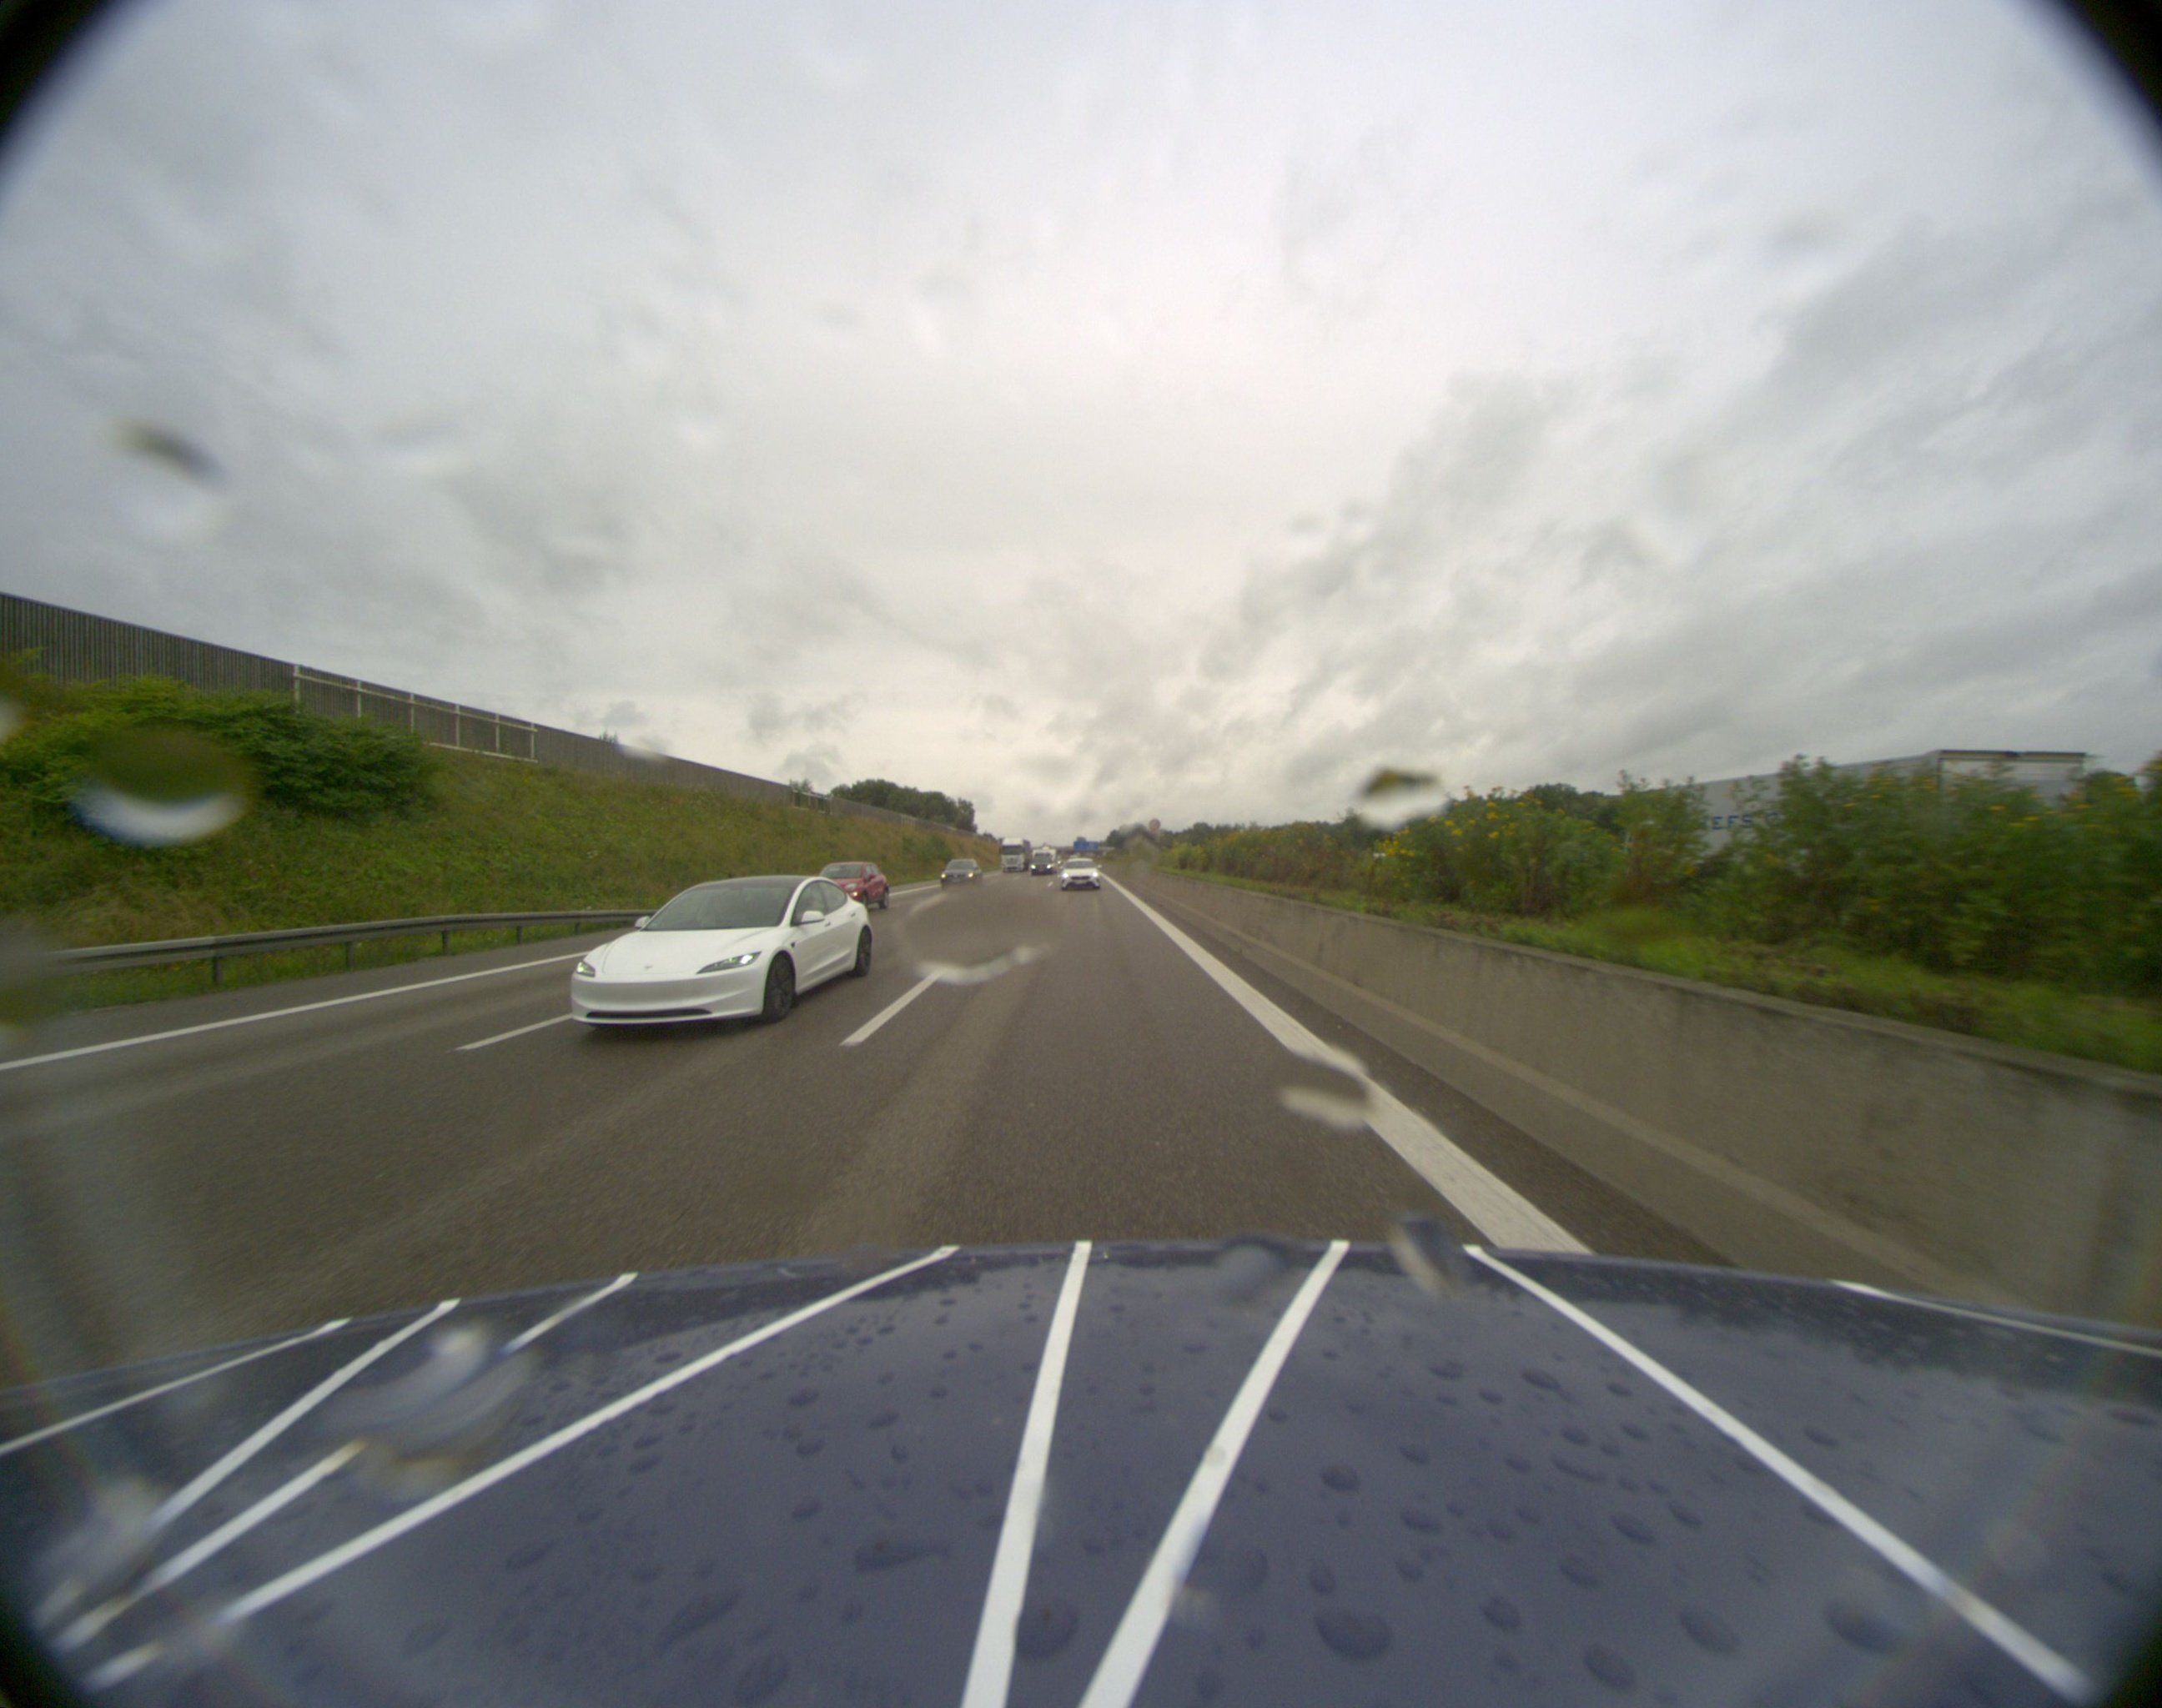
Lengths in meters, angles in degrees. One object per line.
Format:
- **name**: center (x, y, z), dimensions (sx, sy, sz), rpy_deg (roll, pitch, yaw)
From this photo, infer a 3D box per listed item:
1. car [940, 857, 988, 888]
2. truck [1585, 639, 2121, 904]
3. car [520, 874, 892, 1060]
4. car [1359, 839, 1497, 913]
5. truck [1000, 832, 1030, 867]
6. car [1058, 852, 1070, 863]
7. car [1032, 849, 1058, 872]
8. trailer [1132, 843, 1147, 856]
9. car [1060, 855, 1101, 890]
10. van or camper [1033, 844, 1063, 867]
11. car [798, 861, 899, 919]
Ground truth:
- **car**: center (-6.570, 1.000, 43.012), dimensions (1.929, 1.480, 4.485), rpy_deg (-2, 1, 0)
- **truck**: center (17.103, -1.528, 18.495), dimensions (3.233, 4.622, 9.673), rpy_deg (-2, 1, 1)
- **car**: center (-3.839, 1.042, 8.966), dimensions (1.878, 1.355, 4.812), rpy_deg (-2, 1, 1)
- **car**: center (9.398, 0.607, 20.971), dimensions (1.998, 1.774, 4.001), rpy_deg (-2, -1, 2)
- **truck**: center (-7.963, -0.543, 92.179), dimensions (3.090, 4.003, 6.954), rpy_deg (-2, 1, -2)
- **car**: center (-2.734, 0.598, 121.893), dimensions (1.999, 1.759, 3.999), rpy_deg (0, 0, -1)
- **car**: center (-3.338, 0.551, 71.333), dimensions (1.998, 2.002, 4.938), rpy_deg (-2, 1, 1)
- **trailer**: center (16.357, -1.412, 212.275), dimensions (2.922, 3.409, 13.239), rpy_deg (-2, 1, -1)
- **car**: center (0.002, 0.845, 36.652), dimensions (1.841, 1.455, 3.999), rpy_deg (-2, 1, 0)
- **van or camper**: center (-3.261, 0.137, 76.747), dimensions (2.432, 2.139, 6.498), rpy_deg (-2, 1, 1)
- **car**: center (-7.254, 1.073, 24.142), dimensions (1.878, 1.526, 3.999), rpy_deg (-2, 1, 0)
